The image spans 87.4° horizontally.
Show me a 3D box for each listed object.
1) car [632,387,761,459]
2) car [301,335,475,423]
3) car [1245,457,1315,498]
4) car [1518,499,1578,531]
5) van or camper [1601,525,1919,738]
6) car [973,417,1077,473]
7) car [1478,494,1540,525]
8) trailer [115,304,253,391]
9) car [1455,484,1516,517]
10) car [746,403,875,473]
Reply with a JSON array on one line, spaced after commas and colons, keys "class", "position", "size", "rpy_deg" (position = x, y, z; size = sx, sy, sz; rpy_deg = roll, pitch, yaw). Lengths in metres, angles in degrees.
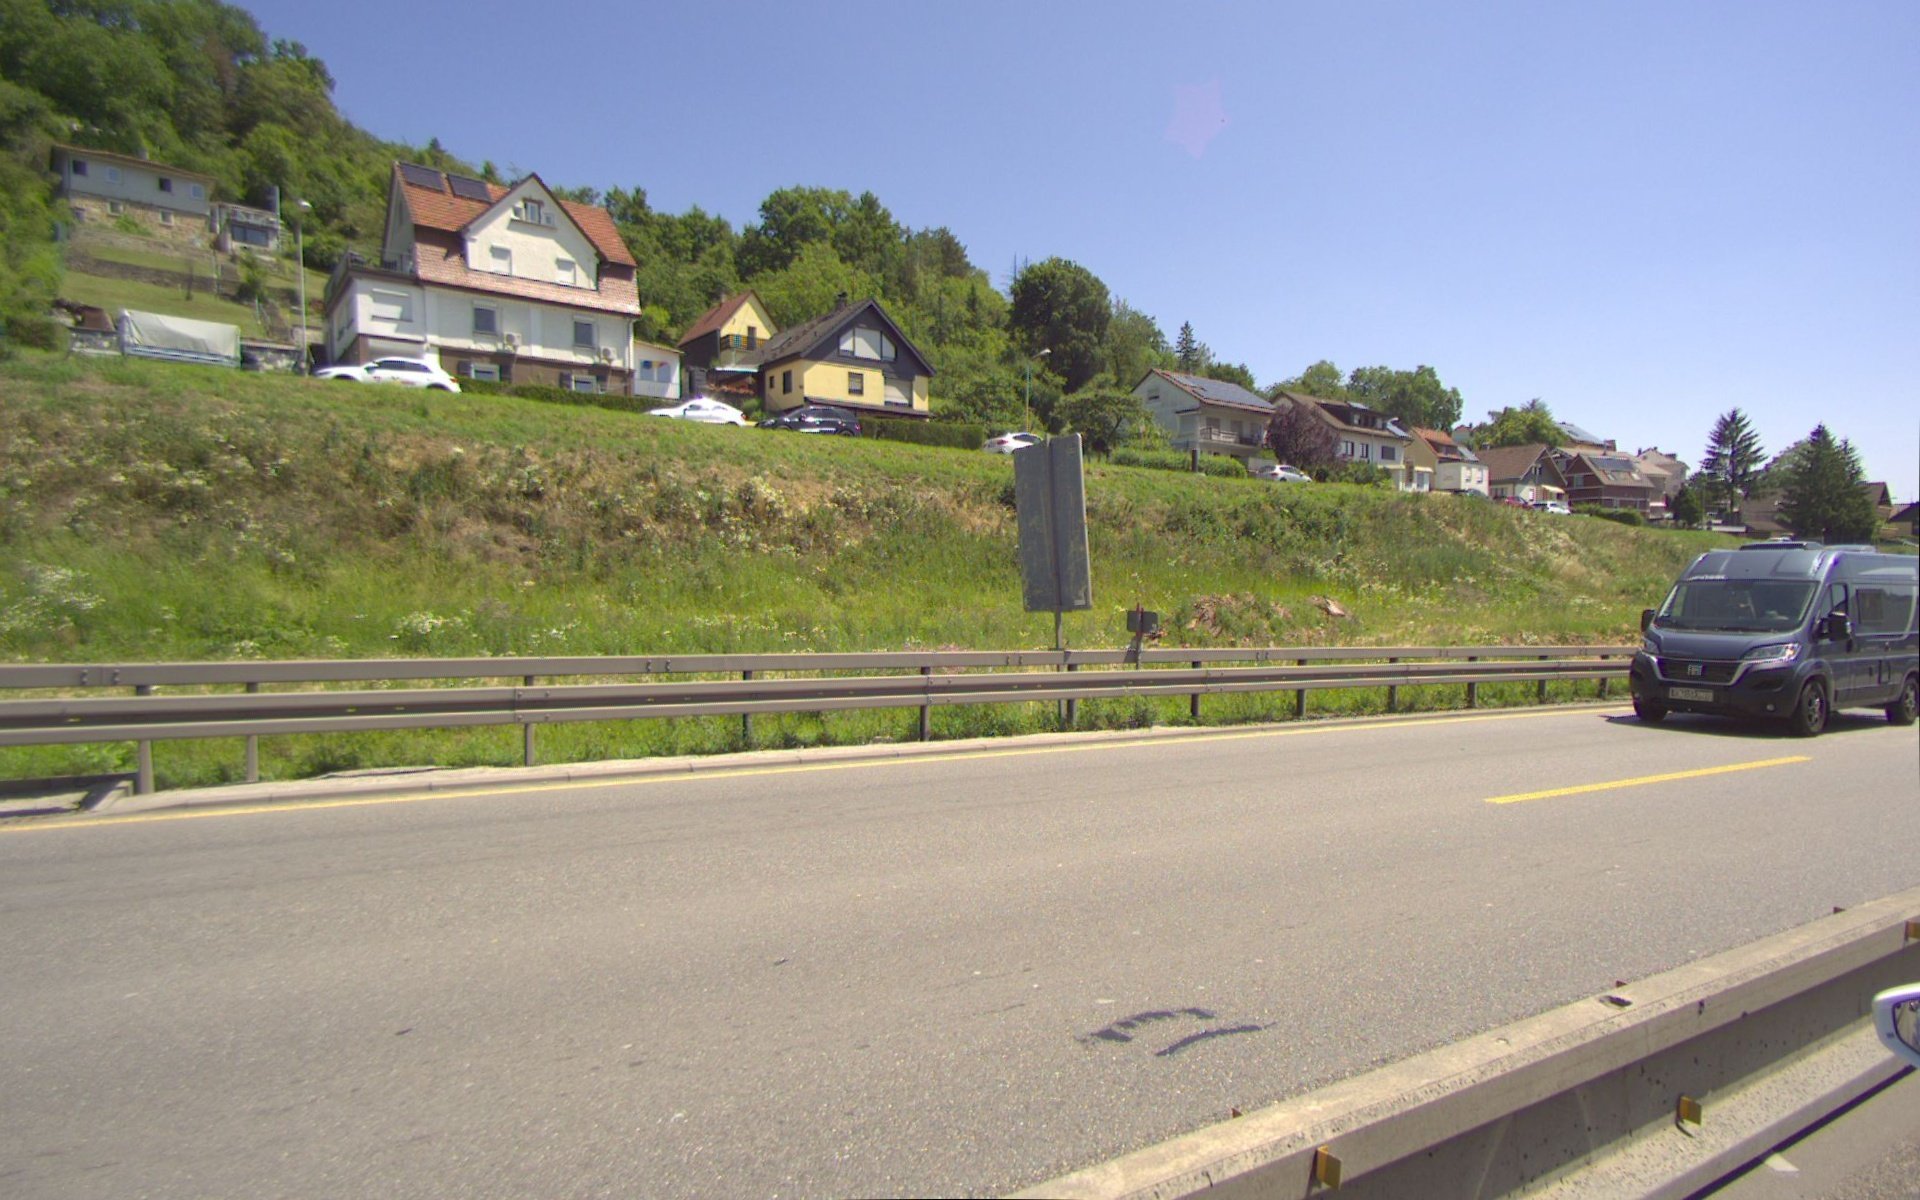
[{"class": "car", "position": [-10.155, -6.761, 38.813], "size": [4.389, 1.896, 1.979], "rpy_deg": [3, -1, -36]}, {"class": "car", "position": [-18.229, -6.974, 32.123], "size": [4.516, 1.677, 1.977], "rpy_deg": [3, -1, -40]}, {"class": "car", "position": [19.007, -7.228, 59.626], "size": [3.964, 1.817, 1.979], "rpy_deg": [3, -1, -37]}, {"class": "car", "position": [47.936, -6.909, 81.899], "size": [4.768, 2.068, 2.333], "rpy_deg": [3, -1, -34]}, {"class": "van or camper", "position": [12.346, 0.444, 14.859], "size": [6.489, 2.608, 2.129], "rpy_deg": [1, 0, -31]}, {"class": "car", "position": [3.222, -7.508, 49.002], "size": [4.966, 1.817, 1.979], "rpy_deg": [3, -1, -37]}, {"class": "car", "position": [42.828, -6.991, 78.315], "size": [4.752, 1.817, 2.333], "rpy_deg": [3, -1, -34]}, {"class": "trailer", "position": [-22.218, -7.171, 28.784], "size": [3.014, 1.536, 1.885], "rpy_deg": [3, -1, -41]}, {"class": "car", "position": [38.512, -7.227, 73.605], "size": [4.721, 1.817, 2.162], "rpy_deg": [3, -1, -37]}, {"class": "car", "position": [-6.208, -6.697, 42.043], "size": [4.925, 2.035, 2.056], "rpy_deg": [3, -1, -36]}]
